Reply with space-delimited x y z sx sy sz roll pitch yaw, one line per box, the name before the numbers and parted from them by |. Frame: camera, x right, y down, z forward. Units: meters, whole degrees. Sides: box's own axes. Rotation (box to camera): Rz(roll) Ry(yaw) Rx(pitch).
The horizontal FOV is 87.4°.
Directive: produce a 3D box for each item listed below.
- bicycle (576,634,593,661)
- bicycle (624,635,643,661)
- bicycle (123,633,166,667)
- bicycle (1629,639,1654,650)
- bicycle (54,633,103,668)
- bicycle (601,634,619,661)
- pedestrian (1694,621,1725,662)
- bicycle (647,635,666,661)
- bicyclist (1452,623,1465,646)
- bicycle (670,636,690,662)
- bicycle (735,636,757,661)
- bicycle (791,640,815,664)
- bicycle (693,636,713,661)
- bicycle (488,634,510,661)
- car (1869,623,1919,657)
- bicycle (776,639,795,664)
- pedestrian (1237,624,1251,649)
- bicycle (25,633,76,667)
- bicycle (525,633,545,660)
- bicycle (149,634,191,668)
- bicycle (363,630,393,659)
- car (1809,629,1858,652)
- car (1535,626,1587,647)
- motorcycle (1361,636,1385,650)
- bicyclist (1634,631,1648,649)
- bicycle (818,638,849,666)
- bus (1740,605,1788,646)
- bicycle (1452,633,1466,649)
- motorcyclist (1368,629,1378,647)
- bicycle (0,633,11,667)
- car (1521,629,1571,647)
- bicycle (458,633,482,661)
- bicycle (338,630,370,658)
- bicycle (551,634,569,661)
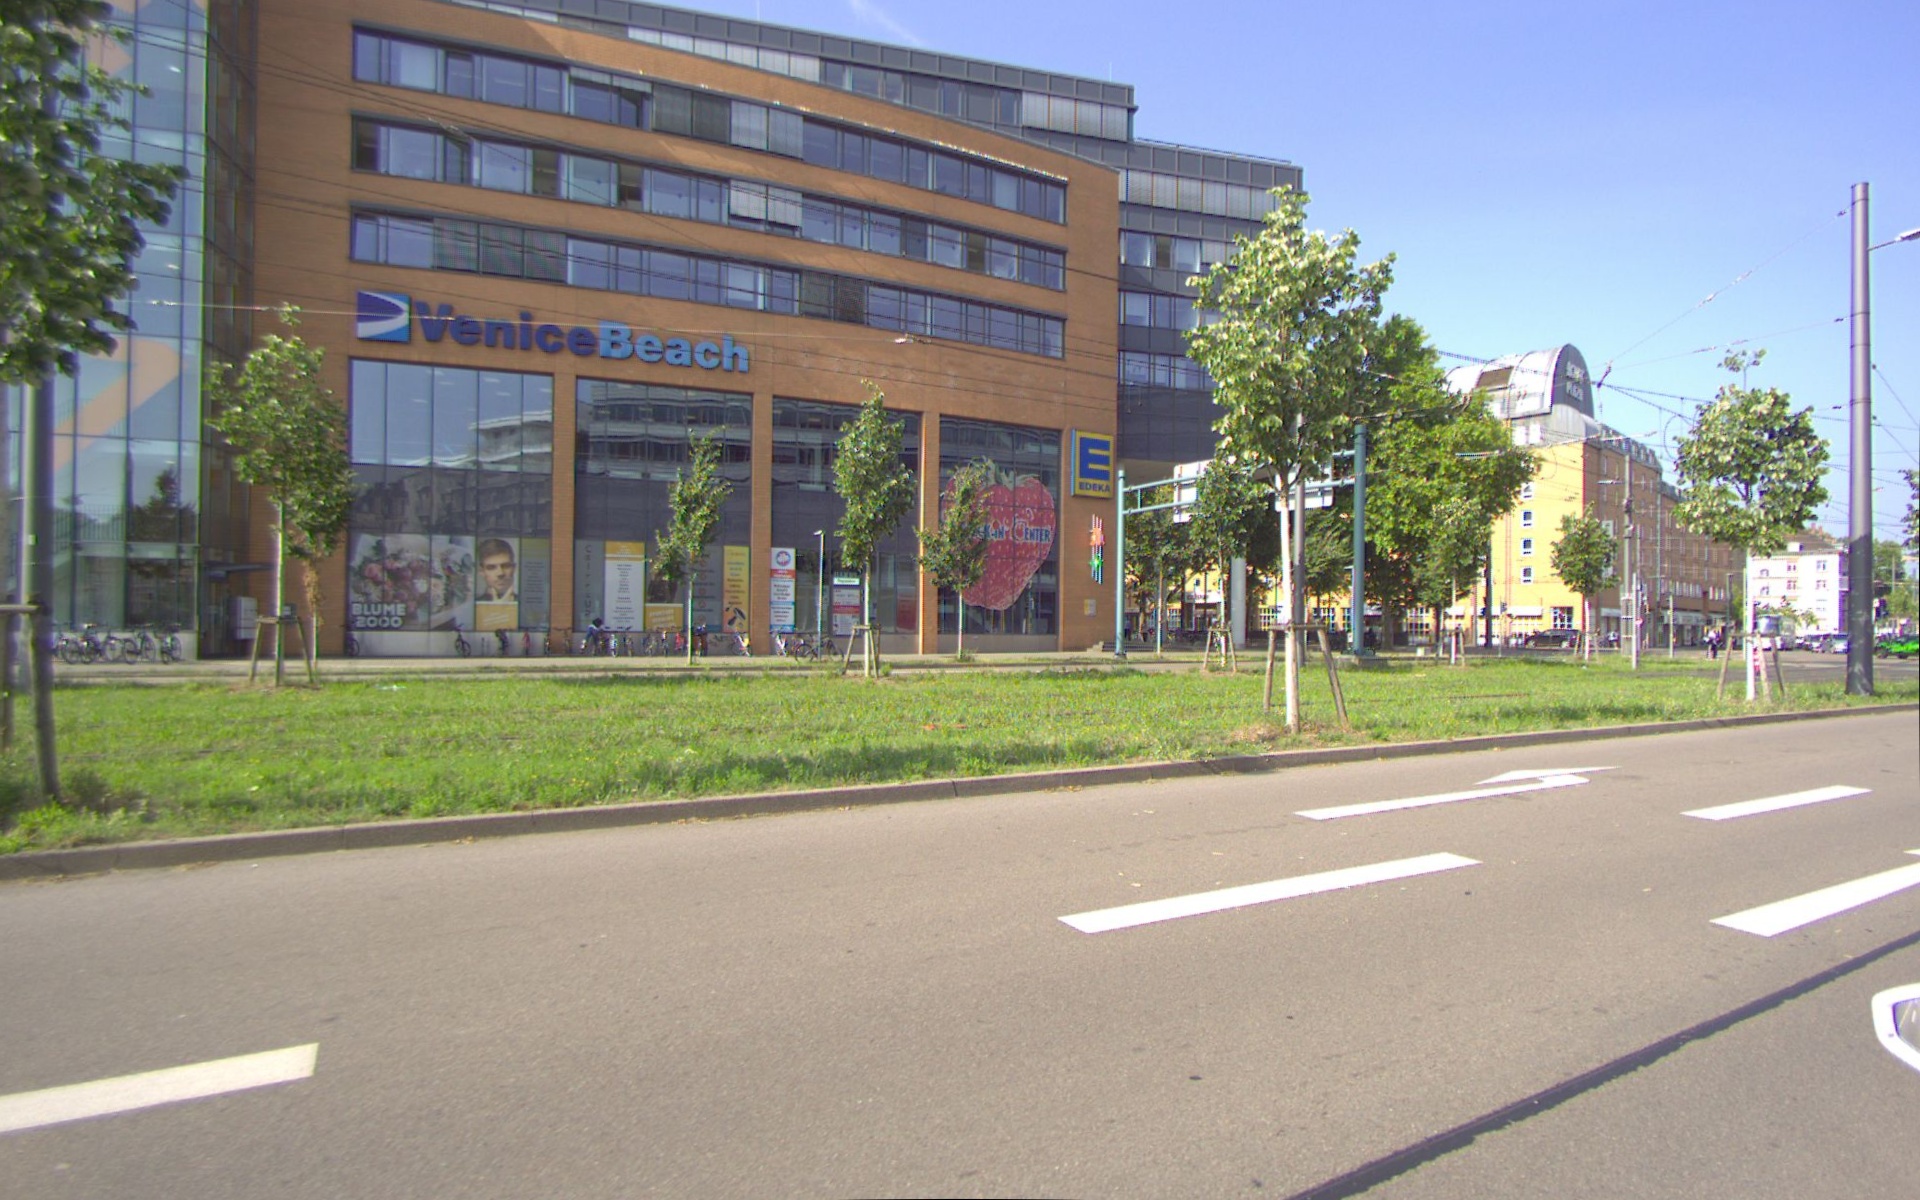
bicycle | -14.047 1.767 37.529 0.565 0.934 2.045 1 -1 -21
bicycle | -12.451 1.805 38.260 0.565 0.934 2.045 1 -1 -21
bicycle | -24.279 1.484 29.925 0.404 0.952 1.578 1 -1 -16
bicycle | 64.946 4.201 95.698 1.938 0.982 0.418 0 -3 43
bicycle | -25.327 1.447 28.880 0.404 0.952 1.578 1 -1 -16
bicycle | -13.208 1.778 37.869 0.565 0.934 2.045 1 -1 -21
pedestrian | 38.282 2.120 51.311 0.770 2.040 1.146 3 -2 -39
bicycle | -11.671 1.845 38.592 0.565 0.934 2.045 1 -1 -21
bicyclist | 39.913 2.743 80.432 0.656 1.769 0.963 0 -2 39
bicycle | -10.885 1.885 38.986 0.565 0.934 2.045 1 -1 -21
bicycle | -8.498 1.926 39.837 0.565 0.934 2.045 1 -1 -21
bicycle | -6.396 2.102 40.885 0.565 0.934 2.045 1 -1 -21
bicycle | -10.081 1.881 39.368 0.565 0.934 2.045 1 -1 -21
bicycle | -16.687 1.702 36.369 0.565 0.934 2.045 1 -1 -21
car | 59.837 2.527 63.097 1.960 2.040 4.002 2 -2 2
bicycle | -7.054 2.068 40.577 0.375 0.934 2.045 1 -1 -21
pedestrian | 18.220 2.324 64.473 0.652 1.563 0.617 1 -1 -14
bicycle | -26.159 1.426 28.918 0.404 0.952 1.578 1 -1 -16
bicycle | -15.587 1.683 36.837 0.565 0.934 2.045 1 -1 -21
bicycle | -23.425 1.507 29.800 0.404 0.952 1.578 1 -1 -16
bicycle | -20.261 1.536 34.996 0.565 0.934 2.045 1 -1 -21
car | 68.324 3.148 78.597 1.658 1.656 4.389 -1 -1 24
car | 52.088 3.141 87.151 1.962 1.700 3.998 2 -2 -4
motorcycle | 31.072 3.215 75.589 0.282 1.008 1.676 3 -2 -39
bicyclist | 64.930 3.834 95.738 0.976 1.717 0.667 0 -2 43
bicycle | -4.549 1.861 36.066 0.699 0.919 1.672 2 -1 -22
bus | 83.338 2.644 104.048 2.718 3.973 12.141 0 -2 44
bicycle | 40.019 3.308 80.564 0.542 1.222 2.277 0 -3 39
motorcyclist | 31.095 2.870 75.584 0.415 1.339 0.526 3 -2 -39
bicycle | -27.163 1.395 27.904 0.465 0.952 1.578 1 -1 -16
car | 53.810 3.489 92.251 1.845 1.645 3.596 1 -1 -29
bicycle | -17.541 1.669 35.982 0.565 0.934 2.045 1 -1 -21
bicycle | -20.925 1.501 34.701 0.565 0.934 2.045 1 -1 -21
bicycle | -14.813 1.740 37.214 0.565 0.934 2.045 1 -1 -21
